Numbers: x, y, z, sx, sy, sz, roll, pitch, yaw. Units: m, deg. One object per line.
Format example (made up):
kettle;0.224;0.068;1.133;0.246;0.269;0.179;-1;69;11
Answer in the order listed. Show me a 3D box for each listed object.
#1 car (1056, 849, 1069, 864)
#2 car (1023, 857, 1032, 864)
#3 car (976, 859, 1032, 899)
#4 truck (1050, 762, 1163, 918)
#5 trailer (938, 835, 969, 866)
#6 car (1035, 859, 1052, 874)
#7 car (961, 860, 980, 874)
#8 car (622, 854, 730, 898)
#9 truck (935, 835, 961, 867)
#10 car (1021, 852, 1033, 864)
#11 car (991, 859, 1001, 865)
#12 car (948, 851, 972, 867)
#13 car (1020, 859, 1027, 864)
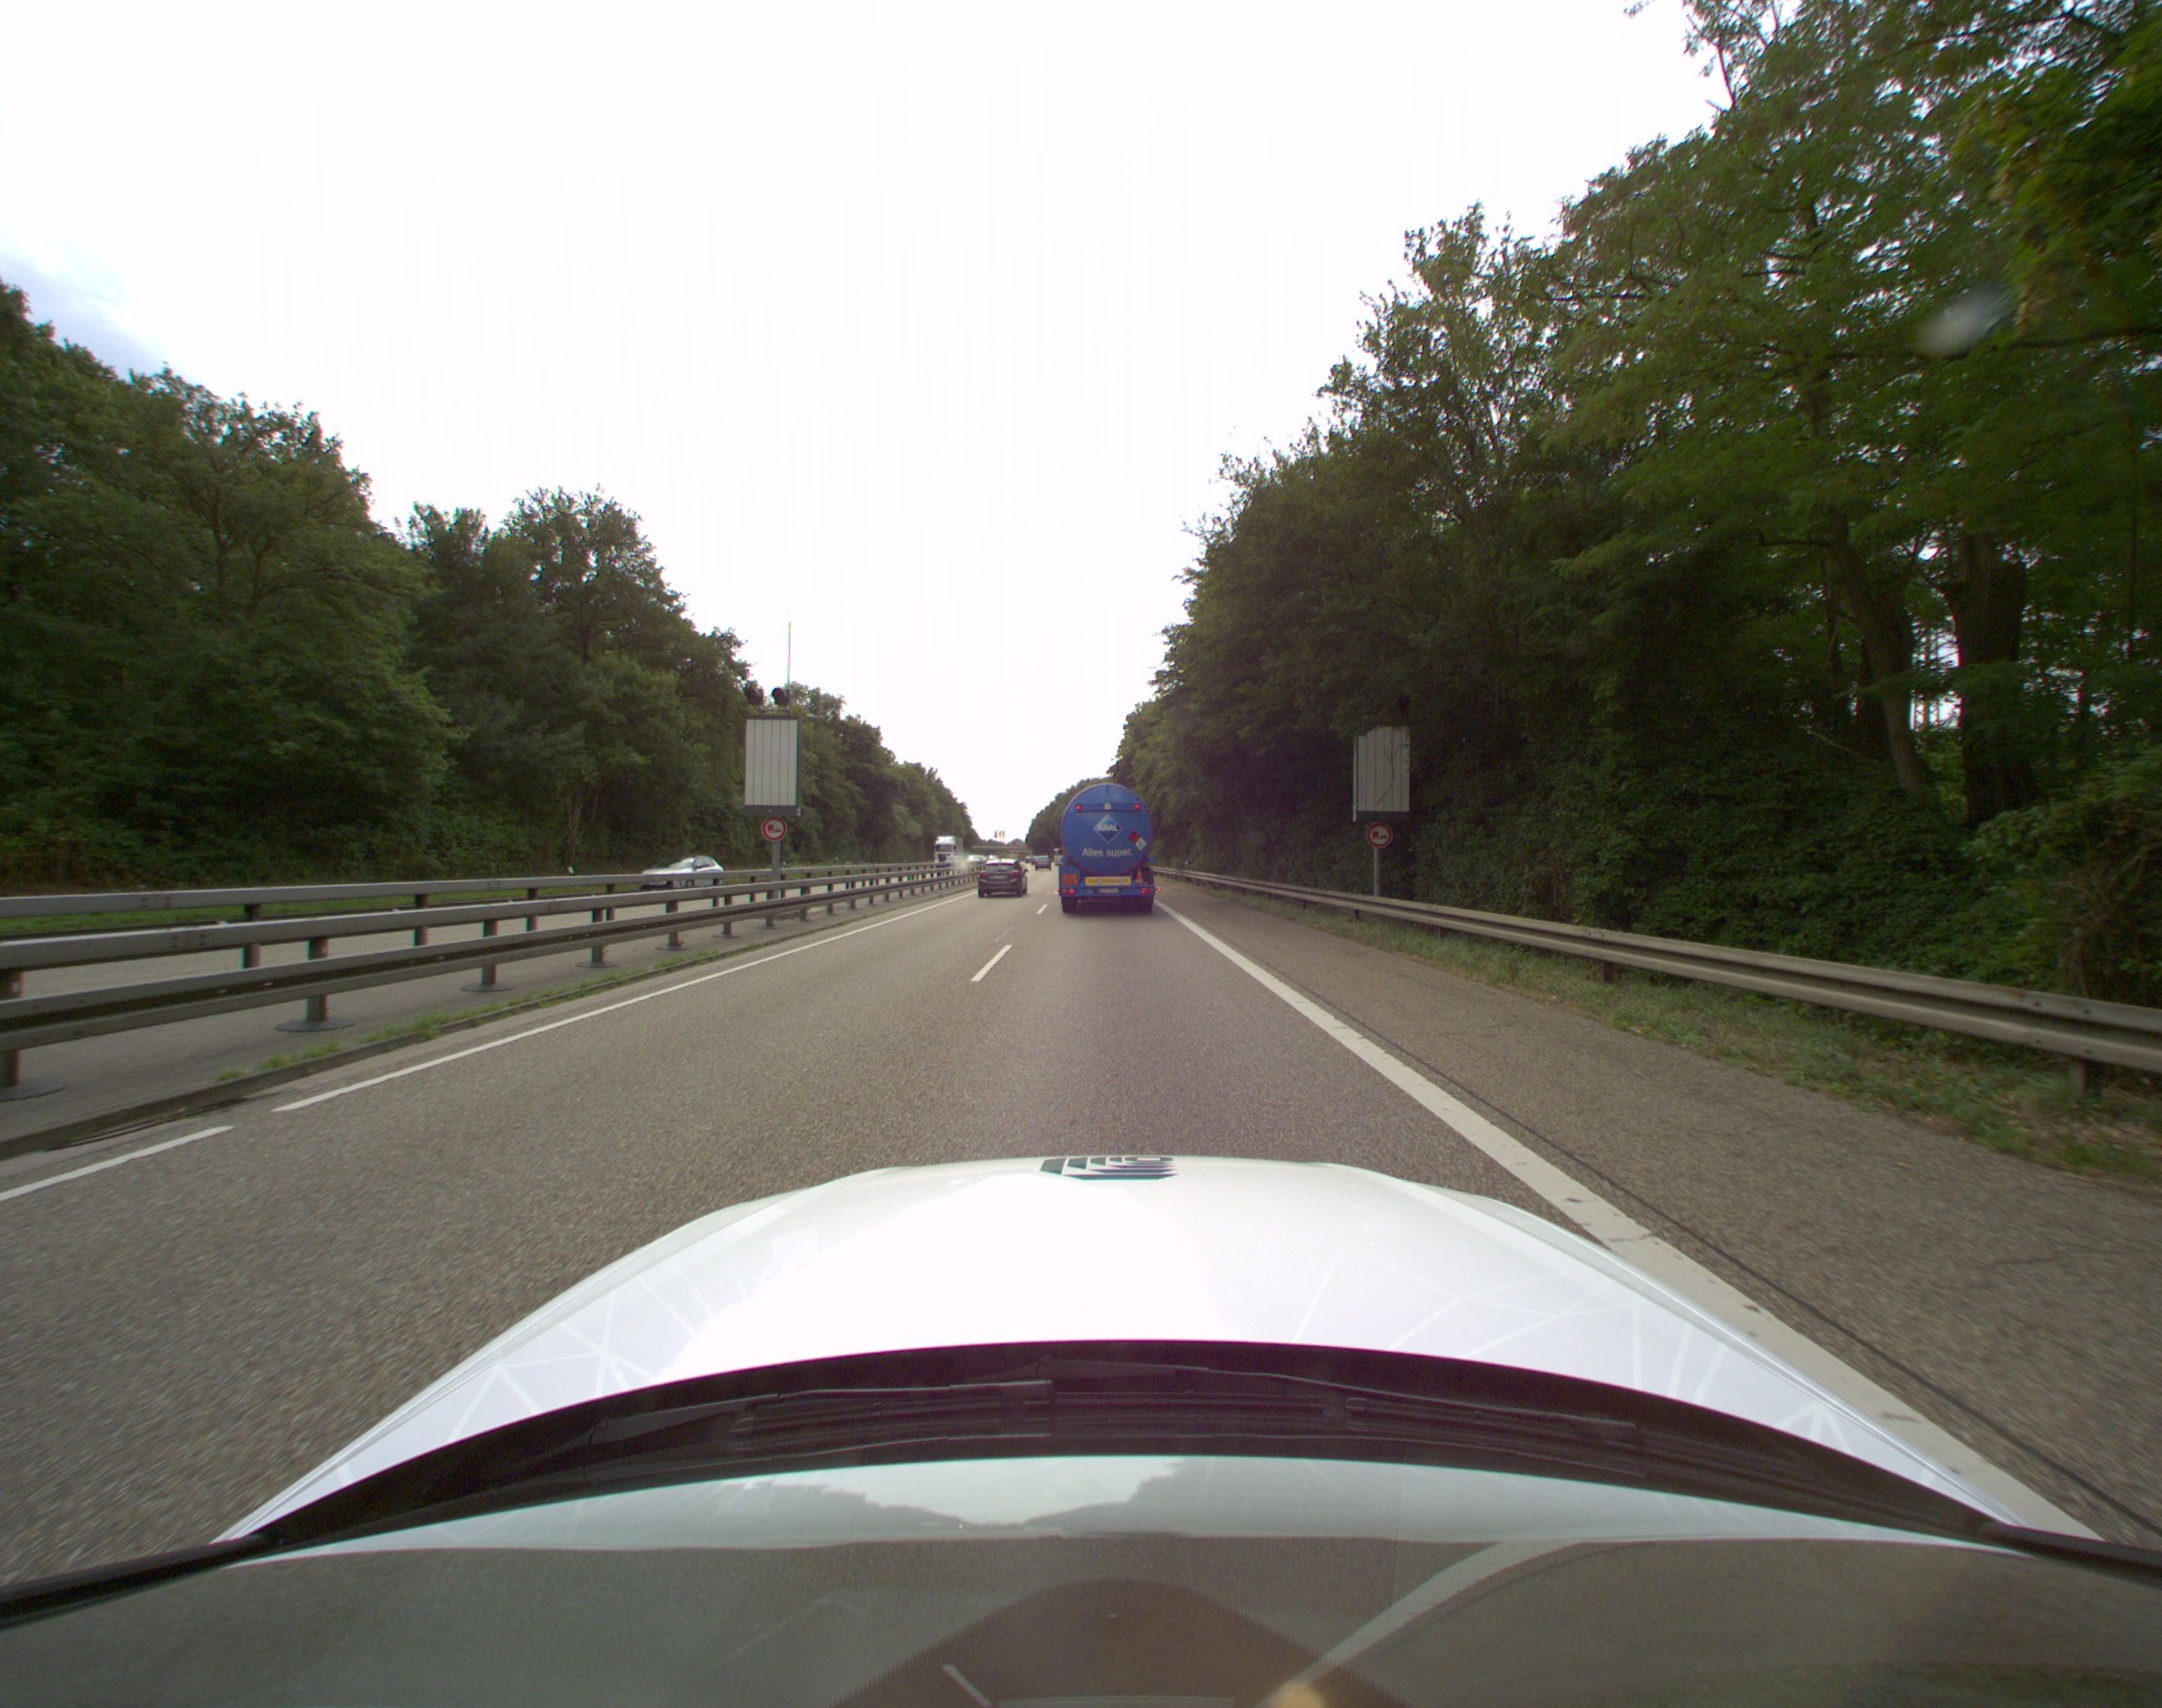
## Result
car;-2.953;0.341;127.240;1.988;2.244;3.996;-1;0;-2
car;-11.931;1.406;182.357;1.950;1.567;3.997;-1;0;-2
car;-3.044;0.944;32.902;1.821;1.458;4.638;-1;0;-1
truck;0.746;-0.354;24.309;2.745;3.846;7.691;-1;0;2
trailer;-17.739;-0.364;113.994;2.656;4.046;12.863;-1;0;-2
car;-4.177;1.410;91.697;1.821;1.609;4.165;-1;0;-1
car;-13.358;1.539;98.761;1.786;1.549;4.127;-1;0;0
car;-15.100;0.783;30.621;1.987;1.481;4.130;-1;0;-1
truck;-17.550;-0.408;107.481;2.685;4.063;5.318;-1;-1;-2
car;-9.595;0.702;145.089;1.991;2.014;3.992;-1;0;-6
car;-18.065;1.697;172.683;1.638;1.389;4.288;-1;0;-1
car;-11.357;0.455;76.508;1.703;1.446;3.776;-1;0;0
car;-17.154;2.314;242.200;1.989;1.552;3.995;-1;0;-3
